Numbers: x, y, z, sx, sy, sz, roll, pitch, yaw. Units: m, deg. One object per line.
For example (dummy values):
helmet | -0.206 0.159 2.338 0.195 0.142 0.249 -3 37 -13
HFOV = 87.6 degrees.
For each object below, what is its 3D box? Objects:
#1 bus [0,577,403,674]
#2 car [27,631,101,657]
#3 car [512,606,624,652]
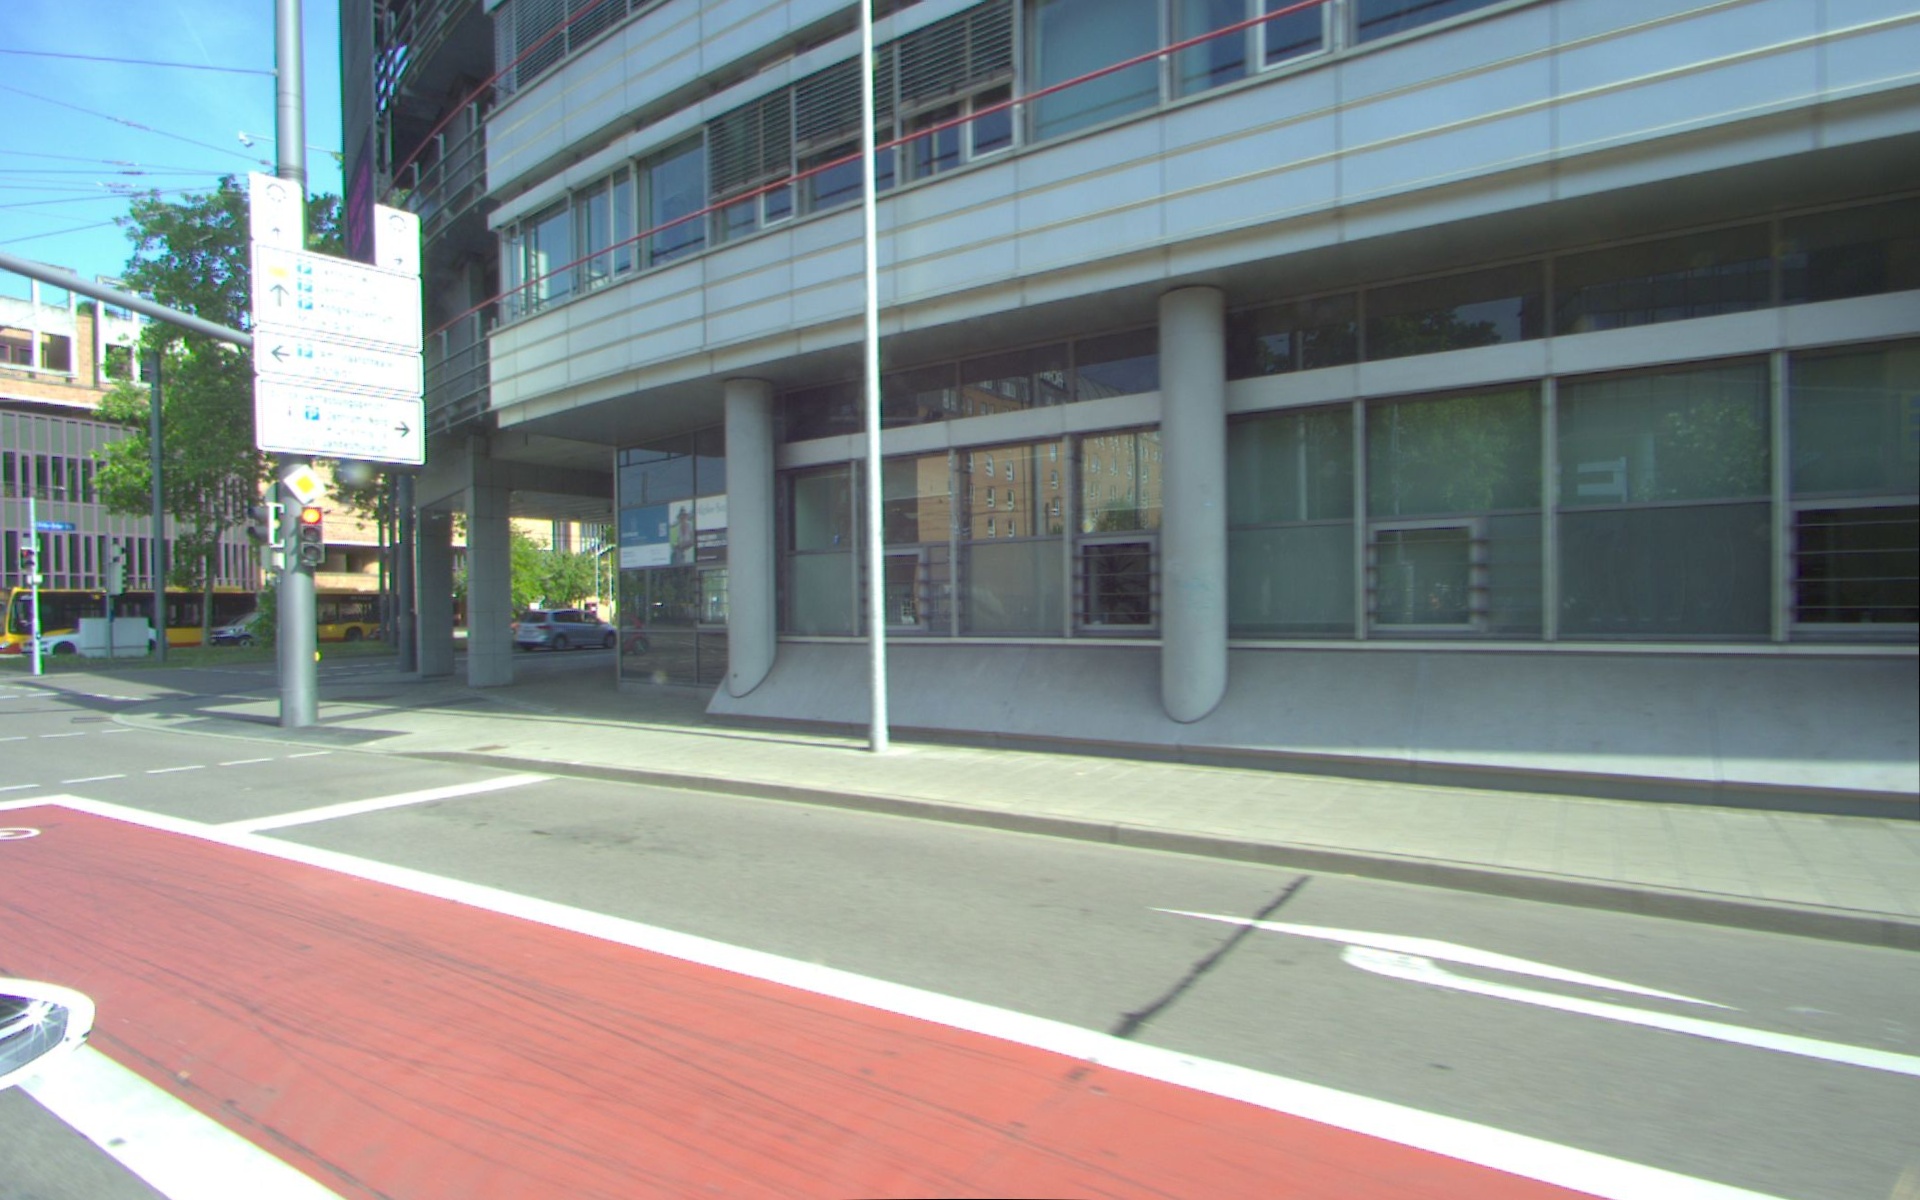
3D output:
bus | -35.955 1.129 48.489 2.818 3.859 17.619 -2 -1 23
car | -35.472 1.727 39.667 1.078 0.970 1.948 -1 0 31
car | -15.456 1.114 39.749 1.660 1.656 4.382 1 1 20
